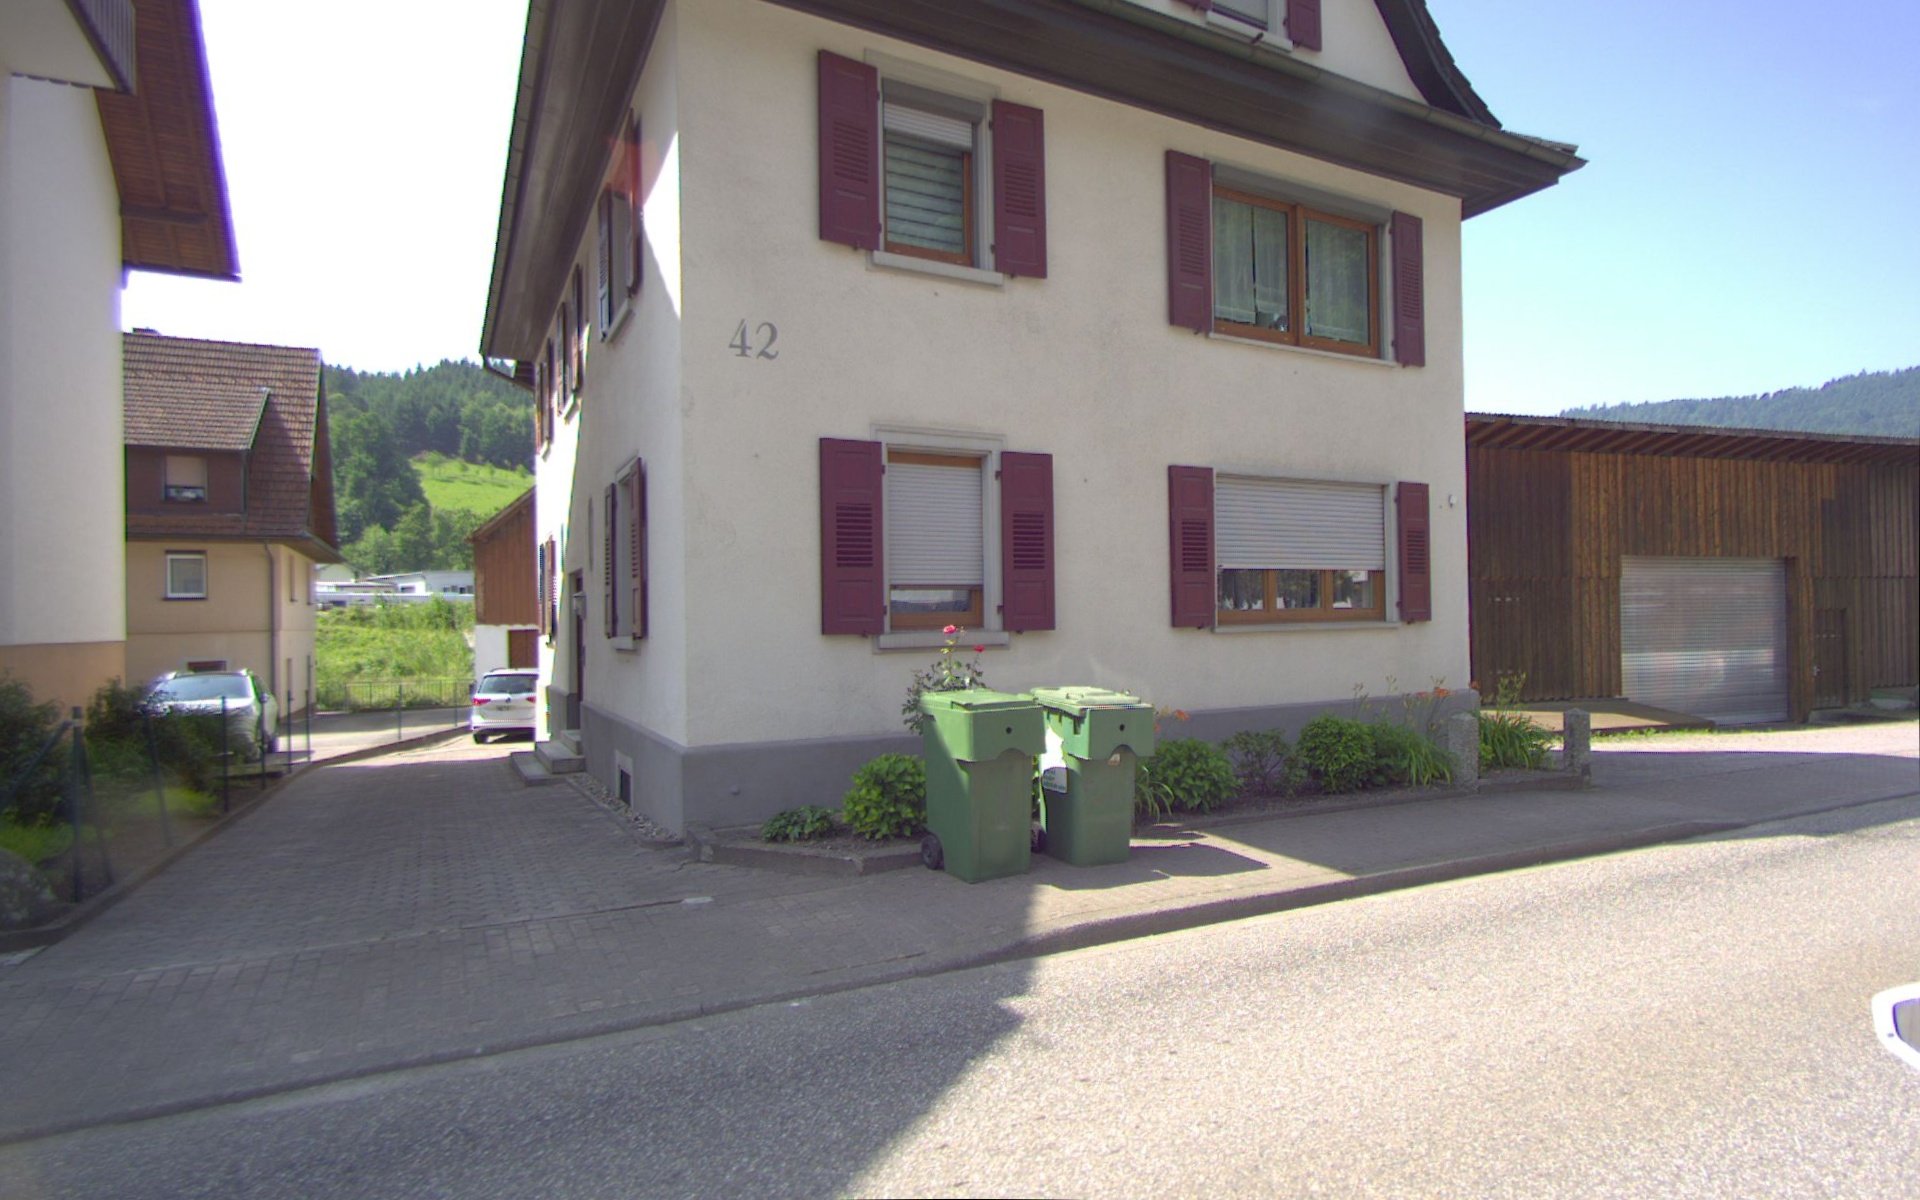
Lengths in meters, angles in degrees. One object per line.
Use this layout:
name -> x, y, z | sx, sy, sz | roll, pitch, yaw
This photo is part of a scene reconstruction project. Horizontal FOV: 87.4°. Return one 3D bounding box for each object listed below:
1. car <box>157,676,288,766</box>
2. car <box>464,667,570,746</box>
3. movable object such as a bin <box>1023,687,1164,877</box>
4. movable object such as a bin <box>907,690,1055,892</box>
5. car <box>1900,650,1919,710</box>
car -> -12.758, 2.023, 17.312 | 1.505, 1.371, 3.248 | 2, -5, -42
car -> -10.105, 2.388, 23.087 | 1.586, 1.604, 2.674 | 0, -2, -10
movable object such as a bin -> 0.845, 1.121, 6.433 | 0.614, 1.081, 0.672 | 1, -2, -30
movable object such as a bin -> 0.118, 1.114, 6.096 | 0.646, 1.081, 0.672 | 1, -2, -30
car -> 24.911, 1.800, 23.263 | 1.887, 1.493, 4.445 | -1, -5, -3
